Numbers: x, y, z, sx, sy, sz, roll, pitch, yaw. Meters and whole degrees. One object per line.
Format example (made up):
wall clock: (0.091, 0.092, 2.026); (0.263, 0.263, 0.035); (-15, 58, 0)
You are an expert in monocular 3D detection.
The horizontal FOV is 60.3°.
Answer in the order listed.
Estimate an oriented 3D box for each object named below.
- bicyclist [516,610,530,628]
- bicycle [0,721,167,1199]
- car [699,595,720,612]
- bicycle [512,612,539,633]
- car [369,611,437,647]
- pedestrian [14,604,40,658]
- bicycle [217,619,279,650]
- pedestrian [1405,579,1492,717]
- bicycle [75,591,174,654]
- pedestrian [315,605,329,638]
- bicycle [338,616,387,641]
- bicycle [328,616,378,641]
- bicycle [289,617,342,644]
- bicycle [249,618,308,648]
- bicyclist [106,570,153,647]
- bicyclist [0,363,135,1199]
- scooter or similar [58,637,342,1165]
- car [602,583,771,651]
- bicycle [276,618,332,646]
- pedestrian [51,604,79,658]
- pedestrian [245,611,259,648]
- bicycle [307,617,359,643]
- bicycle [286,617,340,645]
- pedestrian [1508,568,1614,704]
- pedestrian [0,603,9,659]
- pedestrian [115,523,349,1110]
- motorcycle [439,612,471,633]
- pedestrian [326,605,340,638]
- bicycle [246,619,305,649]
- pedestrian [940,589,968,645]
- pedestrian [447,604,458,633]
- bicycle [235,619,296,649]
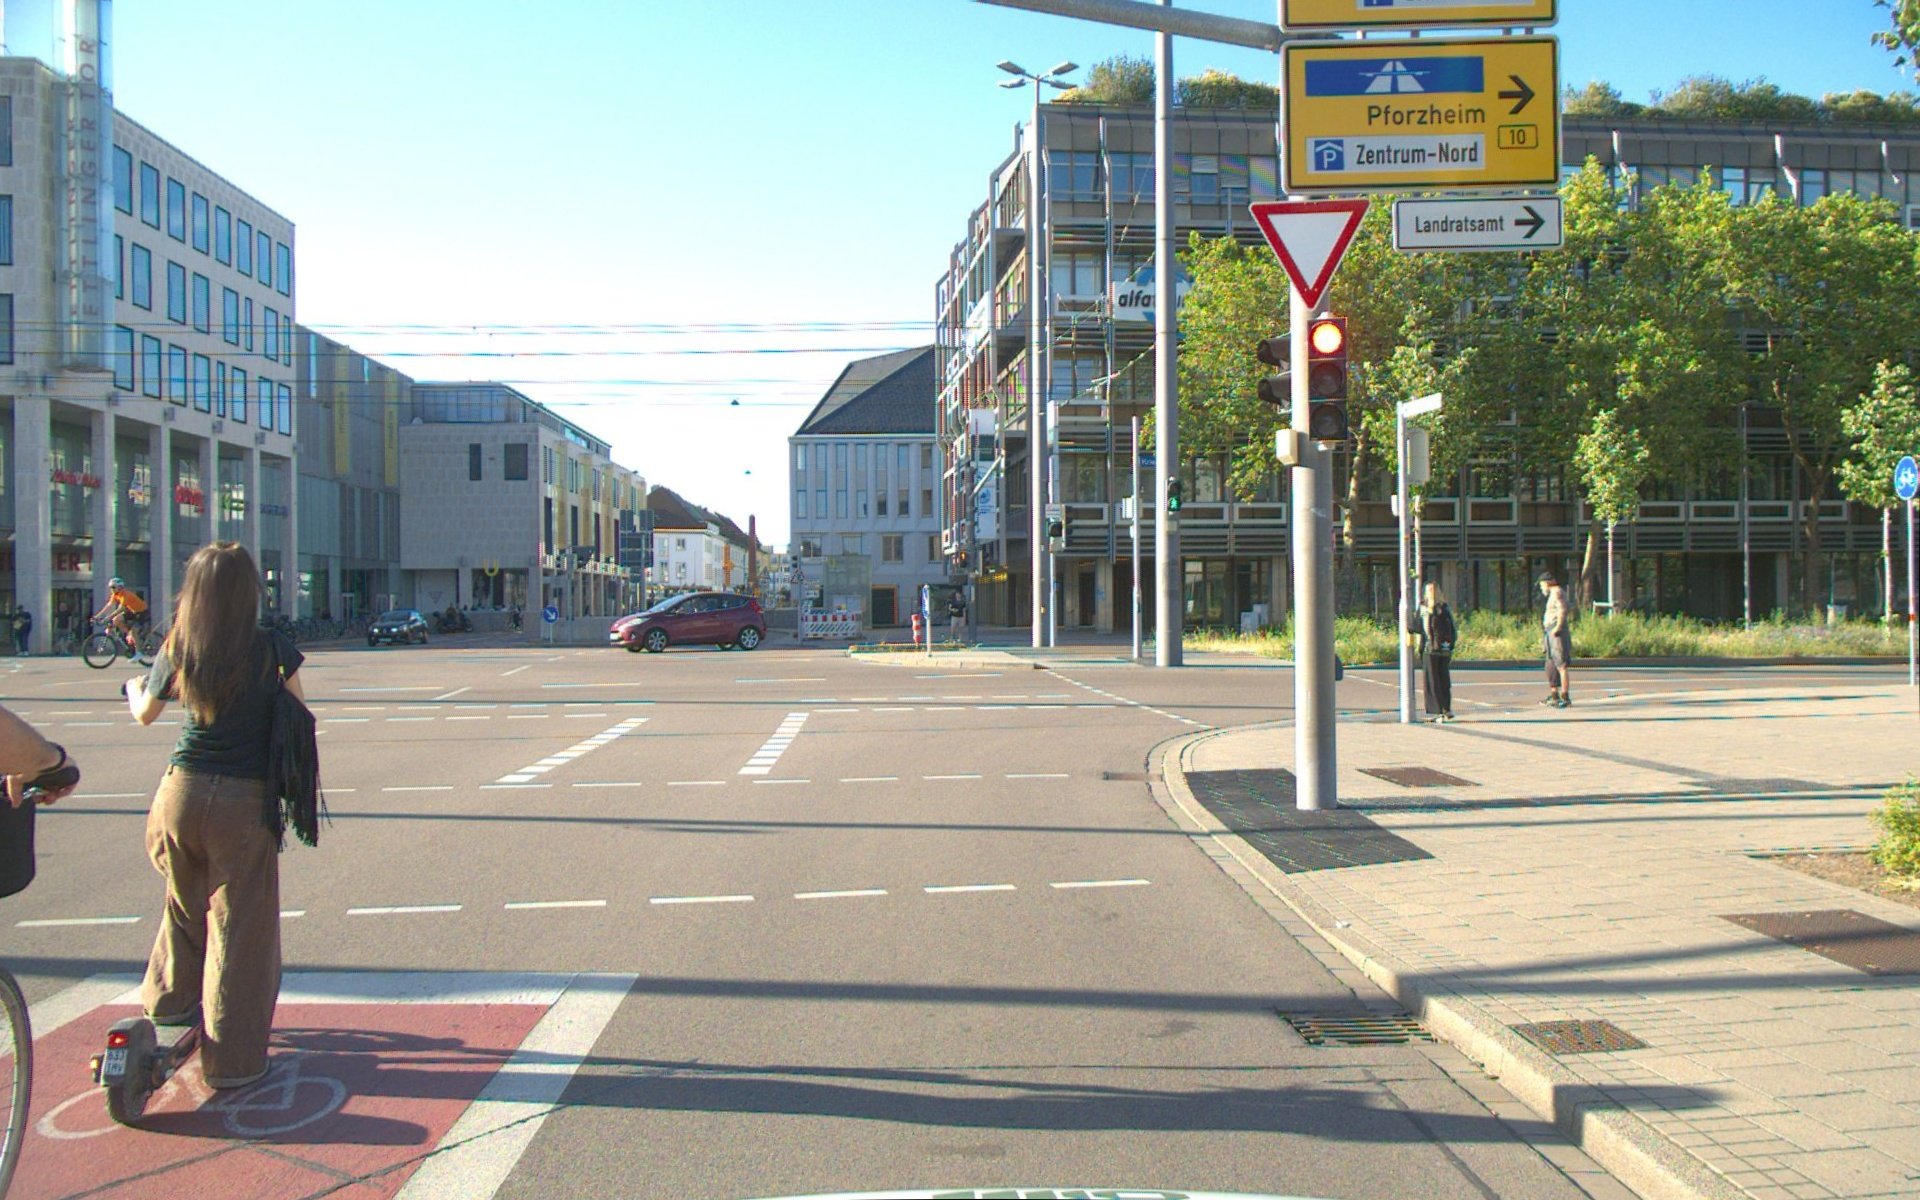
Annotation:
bicyclist: (-26.149, 1.138, 99.008); (0.500, 1.103, 0.624); (1, 0, 29)
bicycle: (-2.083, 0.868, 2.930); (0.475, 1.176, 1.831); (1, 0, -1)
car: (-25.117, 0.358, 165.763); (1.762, 1.686, 3.996); (1, 0, -5)
bicycle: (-26.049, 1.316, 99.177); (0.500, 1.228, 1.808); (1, 0, 28)
car: (-23.377, 1.205, 69.488); (1.597, 1.365, 3.998); (-3, 0, -3)
pedestrian: (-32.862, 1.078, 58.267); (0.787, 1.876, 0.856); (0, 0, -29)
bicycle: (-29.333, 1.424, 68.121); (2.260, 1.244, 0.611); (0, 0, -3)
pedestrian: (5.532, 0.538, 18.757); (0.772, 1.518, 0.644); (1, -1, -1)
bicycle: (-16.067, 0.439, 31.821); (1.634, 1.175, 0.490); (1, -1, -39)
pedestrian: (-33.684, 1.124, 87.317); (0.560, 1.709, 0.614); (1, 0, -10)
bicycle: (-30.814, 1.471, 85.342); (2.260, 1.244, 0.611); (0, 0, -3)
bicycle: (-30.926, 1.465, 84.272); (2.260, 1.244, 0.611); (0, 0, -3)
bicycle: (-30.713, 1.445, 78.823); (2.260, 1.244, 0.611); (0, 0, -3)
bicycle: (-29.503, 1.436, 71.637); (2.260, 1.244, 0.611); (0, 0, -3)
bicyclist: (-16.000, 0.171, 31.868); (0.706, 1.462, 0.490); (1, -1, -39)
bicyclist: (-1.979, 0.464, 2.855); (0.647, 1.750, 0.865); (1, -1, -1)
scooter or similar: (-2.179, 0.784, 4.863); (0.538, 1.316, 1.189); (1, 0, -15)
car: (-6.786, 0.400, 41.168); (3.844, 1.613, 1.643); (0, 0, -30)
bicycle: (-29.603, 1.447, 74.702); (2.260, 1.244, 0.611); (0, 0, -3)
pedestrian: (-31.171, 1.070, 57.608); (0.788, 1.876, 0.854); (0, 0, -33)
pedestrian: (-33.551, 1.382, 78.376); (0.440, 1.749, 0.649); (-1, 0, -6)
bicycle: (-30.333, 1.457, 80.055); (2.260, 1.244, 0.611); (0, 0, -3)
bicycle: (-30.064, 1.448, 76.852); (2.260, 1.244, 0.611); (0, 0, -3)
pedestrian: (7.701, 0.452, 21.215); (0.865, 1.694, 0.959); (1, -1, -19)
pedestrian: (-33.127, 1.070, 56.821); (0.706, 1.918, 0.780); (1, -1, -28)
pedestrian: (-2.189, 0.616, 5.031); (0.540, 1.661, 0.569); (1, -1, -16)
motorcycle: (-29.759, 1.325, 97.480); (1.775, 1.228, 0.509); (1, 0, -16)
pedestrian: (-33.168, 1.121, 87.512); (0.544, 1.709, 0.606); (1, 0, -11)
bicycle: (-29.290, 1.436, 70.760); (2.260, 1.244, 0.611); (0, 0, -3)
pedestrian: (-0.204, 0.576, 57.384); (0.777, 1.923, 0.640); (1, -1, -22)
pedestrian: (-30.096, 1.070, 98.082); (0.512, 1.709, 0.581); (1, 0, -14)
bicycle: (-29.125, 1.433, 69.406); (2.260, 1.244, 0.611); (0, 0, -3)
